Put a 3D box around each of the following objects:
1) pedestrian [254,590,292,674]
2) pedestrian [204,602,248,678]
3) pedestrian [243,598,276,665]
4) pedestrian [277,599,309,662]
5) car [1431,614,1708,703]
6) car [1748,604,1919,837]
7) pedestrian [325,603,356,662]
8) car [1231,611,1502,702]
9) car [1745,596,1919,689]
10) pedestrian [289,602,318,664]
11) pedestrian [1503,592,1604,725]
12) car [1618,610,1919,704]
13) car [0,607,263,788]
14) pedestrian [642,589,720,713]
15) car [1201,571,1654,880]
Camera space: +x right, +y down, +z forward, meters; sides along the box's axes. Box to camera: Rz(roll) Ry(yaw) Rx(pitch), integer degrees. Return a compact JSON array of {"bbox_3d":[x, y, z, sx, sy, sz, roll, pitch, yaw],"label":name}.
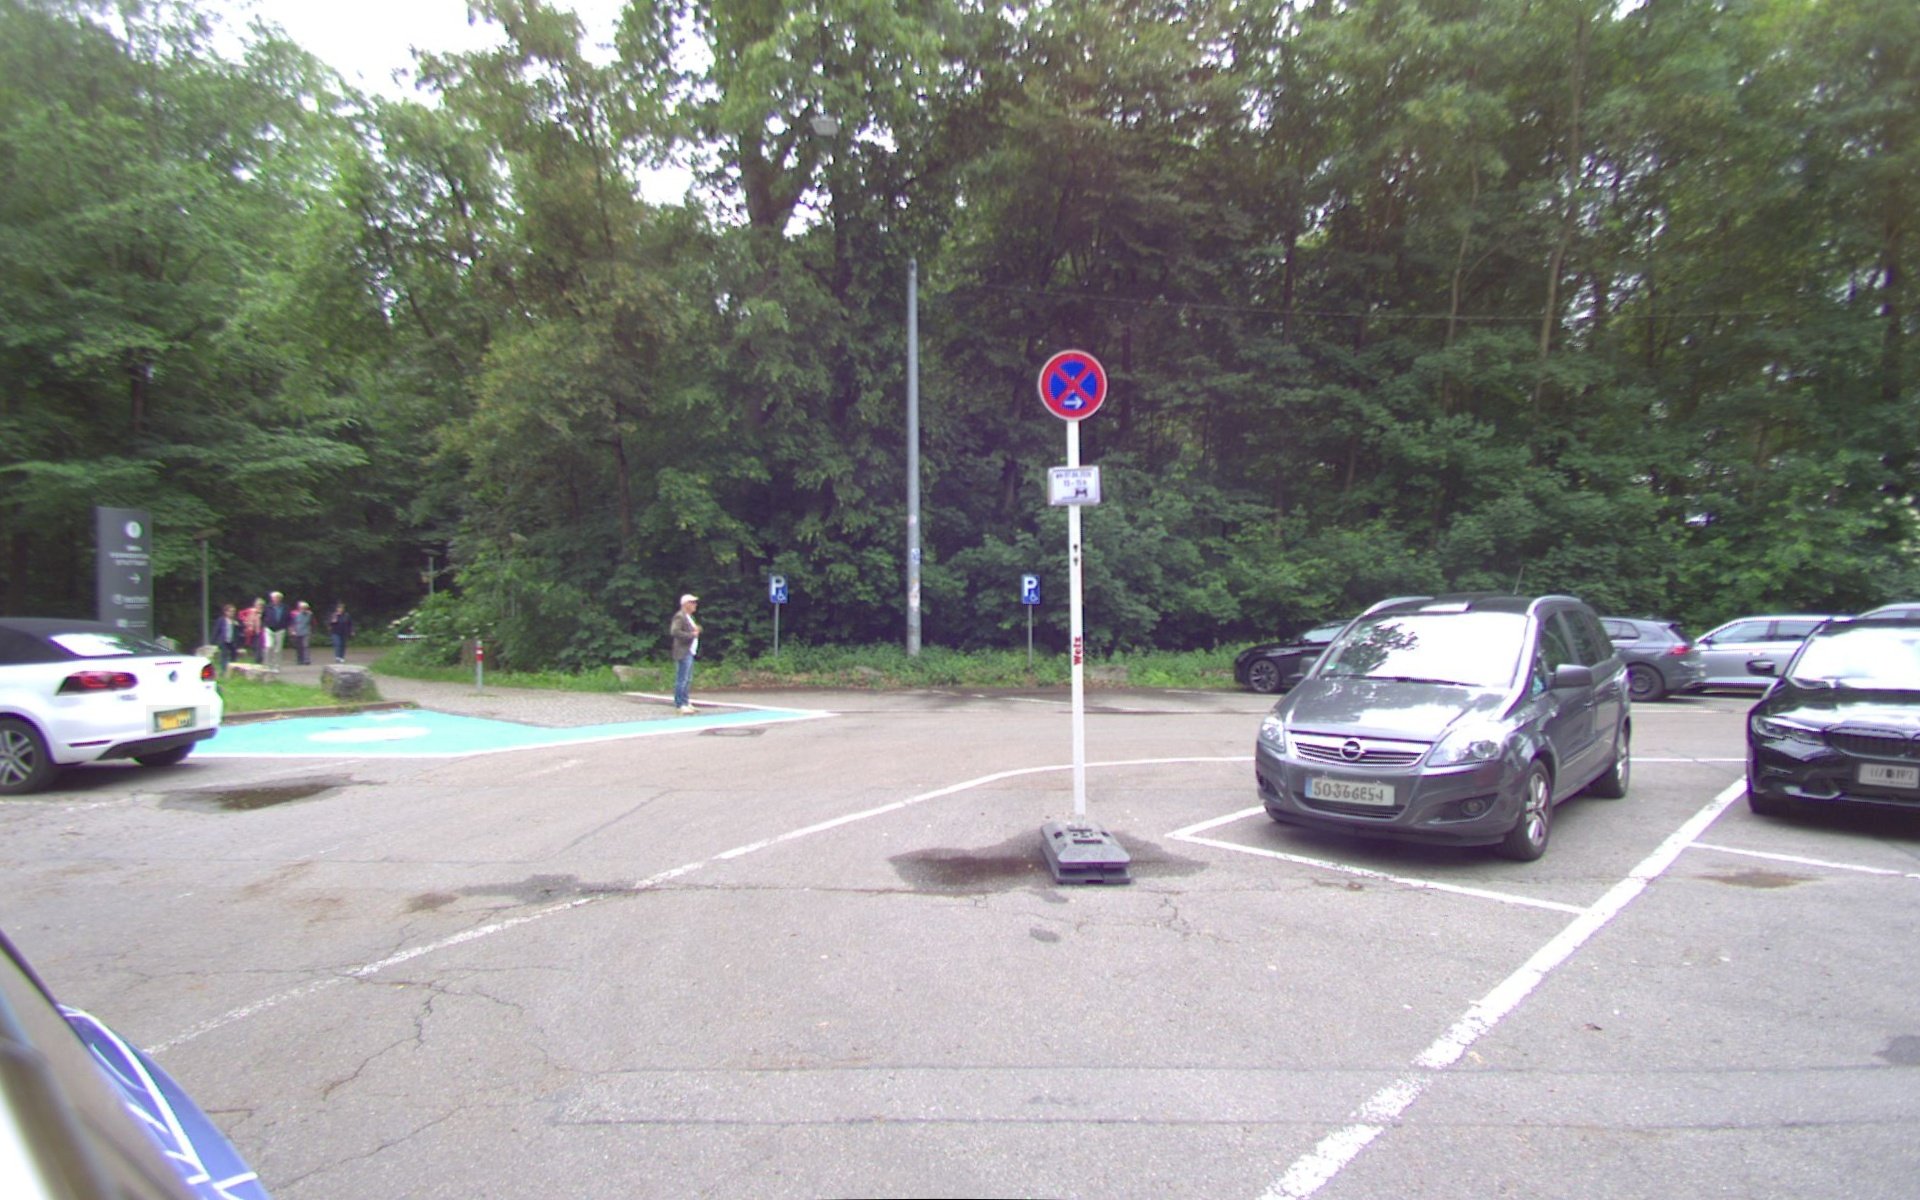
[{"bbox_3d":[-16.113,0.733,23.739,0.722,1.930,0.670,0,-1,-35],"label":"pedestrian"},{"bbox_3d":[-16.369,0.877,22.580,0.766,1.646,0.639,0,-1,-35],"label":"pedestrian"},{"bbox_3d":[-18.881,0.846,27.270,0.673,1.775,0.606,1,-1,-41],"label":"pedestrian"},{"bbox_3d":[-19.024,0.865,28.871,0.671,1.781,0.715,1,-1,-40],"label":"pedestrian"},{"bbox_3d":[11.023,0.975,18.469,4.002,1.433,1.882,-1,-1,45],"label":"car"},{"bbox_3d":[7.441,0.769,7.859,1.760,1.454,4.218,-1,-1,42],"label":"car"},{"bbox_3d":[-17.833,0.928,29.122,0.671,1.686,0.663,1,-1,-41],"label":"pedestrian"},{"bbox_3d":[7.300,0.946,18.480,1.871,1.473,4.207,1,-1,-44],"label":"car"},{"bbox_3d":[17.391,0.762,18.771,1.936,1.649,4.265,1,-1,-45],"label":"car"},{"bbox_3d":[-18.015,0.894,27.767,0.599,1.686,0.606,1,-1,-41],"label":"pedestrian"},{"bbox_3d":[7.976,0.768,13.631,0.884,1.738,0.764,0,-1,1],"label":"pedestrian"},{"bbox_3d":[14.445,0.928,18.236,1.806,1.478,4.006,1,-1,-41],"label":"car"},{"bbox_3d":[-8.844,0.788,9.055,3.944,1.439,1.899,0,-1,1],"label":"car"},{"bbox_3d":[-4.014,0.726,14.608,0.885,1.738,0.763,0,-1,3],"label":"pedestrian"},{"bbox_3d":[3.701,0.686,7.552,1.829,1.621,4.325,-1,-1,43],"label":"car"}]
